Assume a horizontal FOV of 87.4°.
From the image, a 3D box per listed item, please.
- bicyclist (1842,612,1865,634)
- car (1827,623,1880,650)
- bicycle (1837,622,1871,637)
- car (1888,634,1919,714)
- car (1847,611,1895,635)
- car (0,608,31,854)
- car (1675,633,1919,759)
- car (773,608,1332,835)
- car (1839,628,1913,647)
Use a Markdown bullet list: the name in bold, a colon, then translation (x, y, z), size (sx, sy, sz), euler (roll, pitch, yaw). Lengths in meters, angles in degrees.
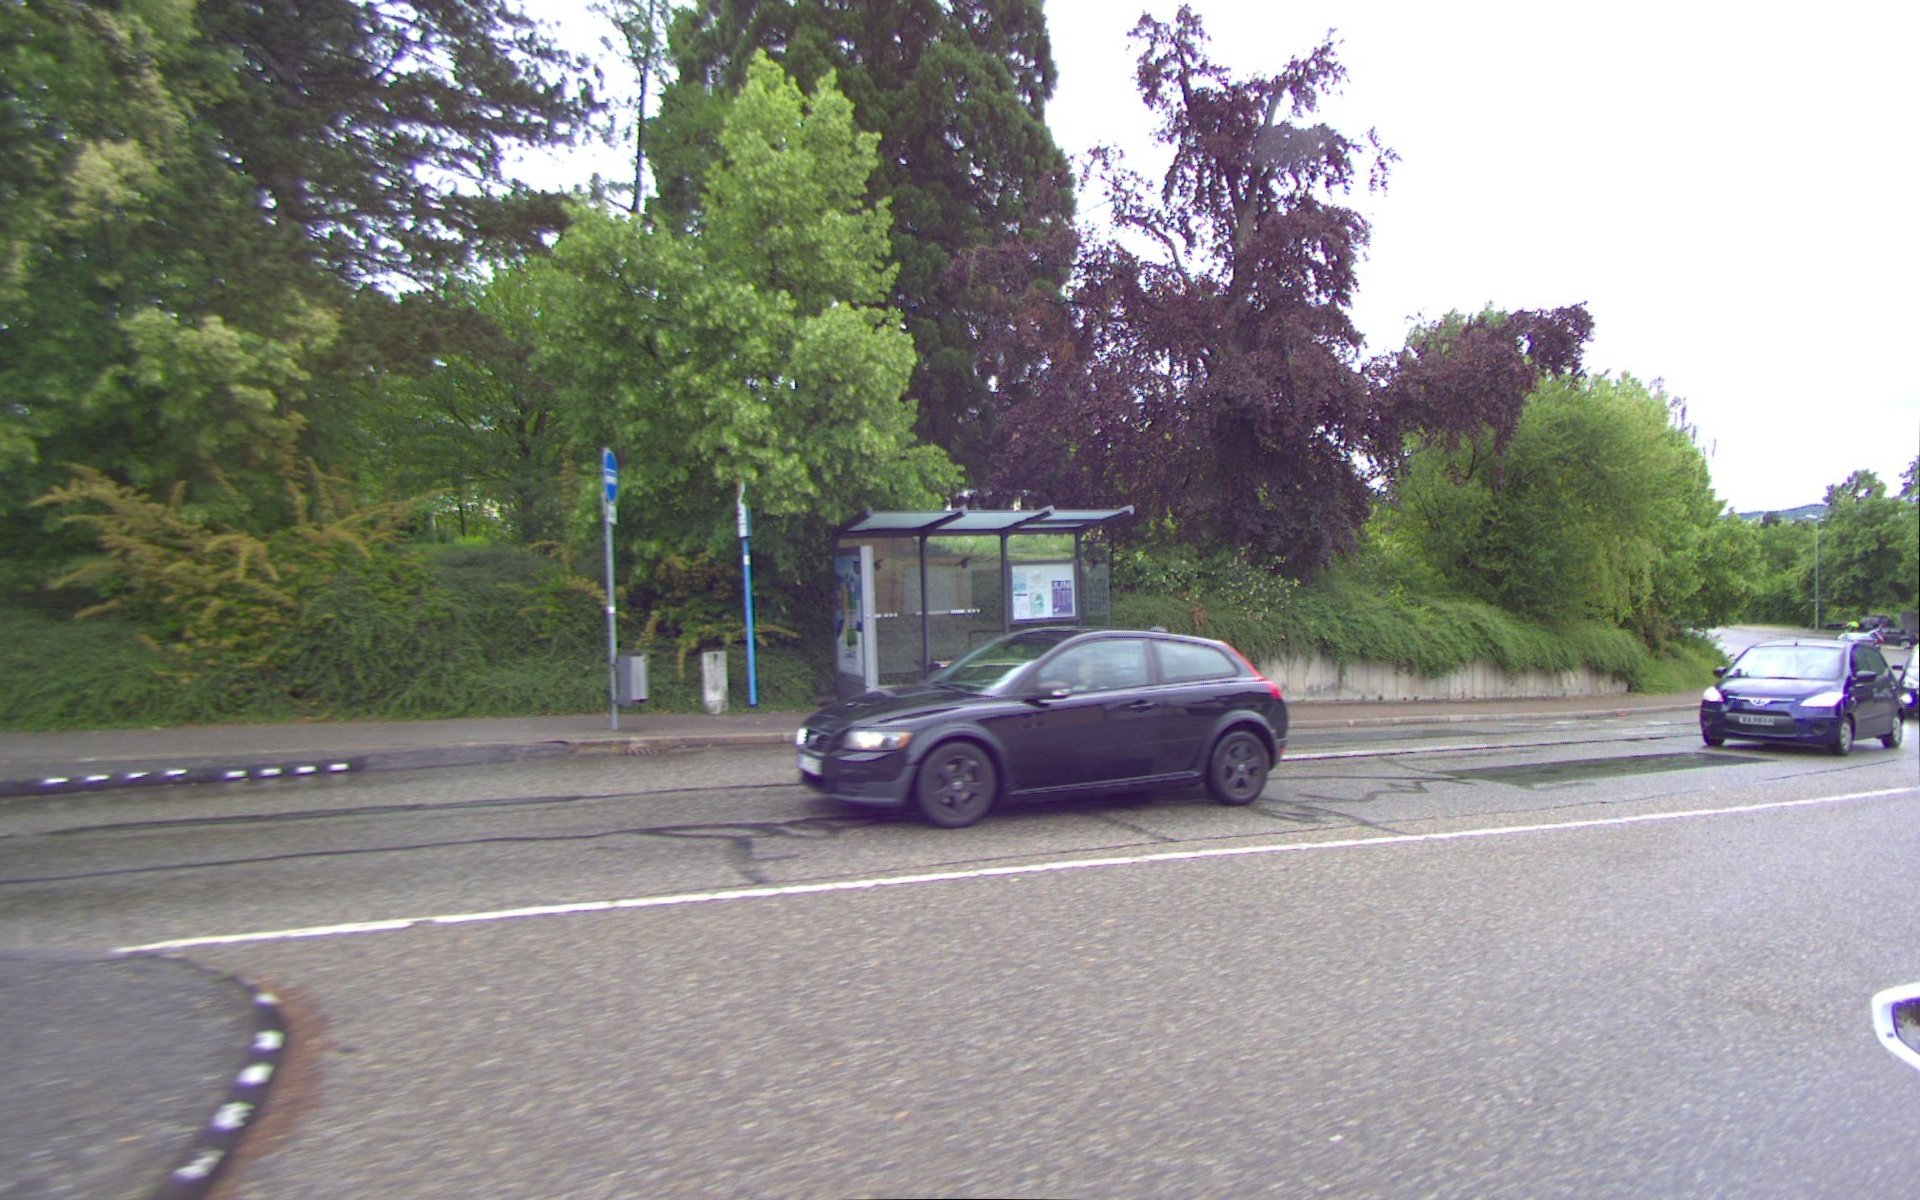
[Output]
- **bicyclist**: translation (73.146, 1.882, 82.200), size (0.847, 1.779, 1.272), euler (1, -1, -37)
- **car**: translation (57.735, 2.345, 64.954), size (1.696, 1.484, 3.992), euler (4, 2, 30)
- **bicycle**: translation (73.151, 2.393, 82.194), size (0.847, 1.170, 2.016), euler (1, -1, -37)
- **car**: translation (21.453, 1.555, 21.491), size (4.647, 1.597, 1.795), euler (2, -2, -40)
- **car**: translation (78.099, 1.942, 86.088), size (4.852, 1.712, 1.935), euler (-3, 4, -34)
- **car**: translation (-7.474, 0.732, 4.309), size (4.755, 1.420, 1.823), euler (1, -1, -25)
- **car**: translation (12.316, 1.280, 14.649), size (4.332, 1.483, 1.711), euler (0, 0, -35)
- **car**: translation (0.823, 0.888, 8.326), size (4.346, 1.465, 1.784), euler (2, -2, -27)
- **car**: translation (70.419, 2.872, 77.328), size (4.074, 1.402, 1.720), euler (0, -1, 38)
